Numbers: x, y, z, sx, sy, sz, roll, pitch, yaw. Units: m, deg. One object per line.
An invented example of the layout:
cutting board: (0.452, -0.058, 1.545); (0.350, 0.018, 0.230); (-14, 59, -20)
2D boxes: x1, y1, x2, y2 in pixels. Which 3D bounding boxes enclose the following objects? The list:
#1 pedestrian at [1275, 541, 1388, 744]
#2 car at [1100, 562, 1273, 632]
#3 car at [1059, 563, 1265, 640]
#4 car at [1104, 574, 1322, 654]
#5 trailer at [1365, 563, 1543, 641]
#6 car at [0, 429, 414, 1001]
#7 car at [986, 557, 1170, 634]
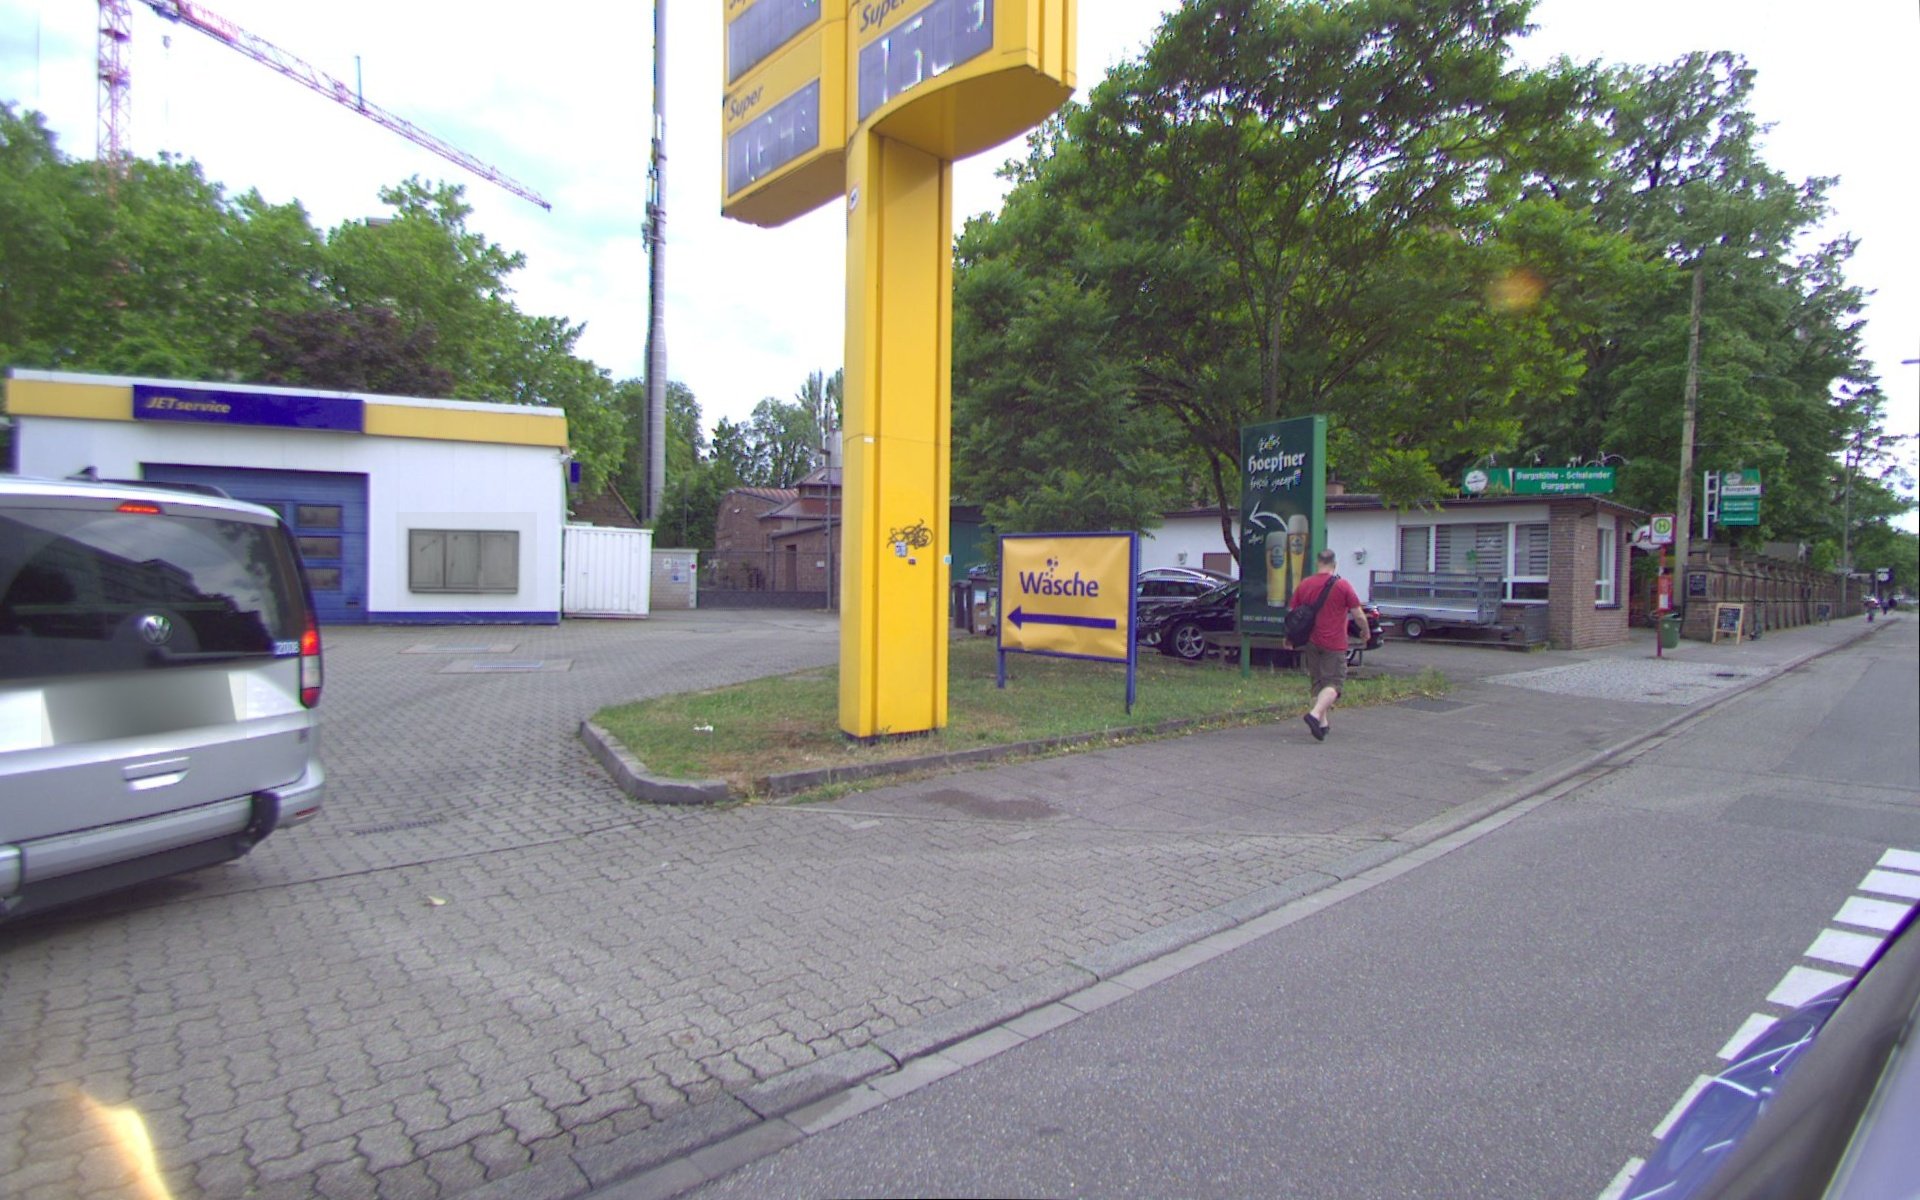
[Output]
pedestrian: (3.464, 0.350, 9.476); (0.859, 1.768, 0.845); (3, 3, 20)
car: (5.811, -0.091, 26.295); (1.967, 1.688, 3.990); (0, 1, -44)
car: (4.193, 0.019, 21.431); (3.921, 1.536, 1.828); (0, 0, -4)
car: (4.680, 0.206, 18.524); (3.930, 1.304, 1.997); (-1, 1, -41)
trailer: (11.373, -0.023, 23.400); (1.745, 1.549, 3.286); (-3, 5, -44)
car: (-5.063, 0.241, 4.579); (4.465, 1.865, 1.978); (3, 2, 16)
car: (2.701, -0.111, 23.751); (3.943, 1.717, 1.815); (0, 0, -8)
